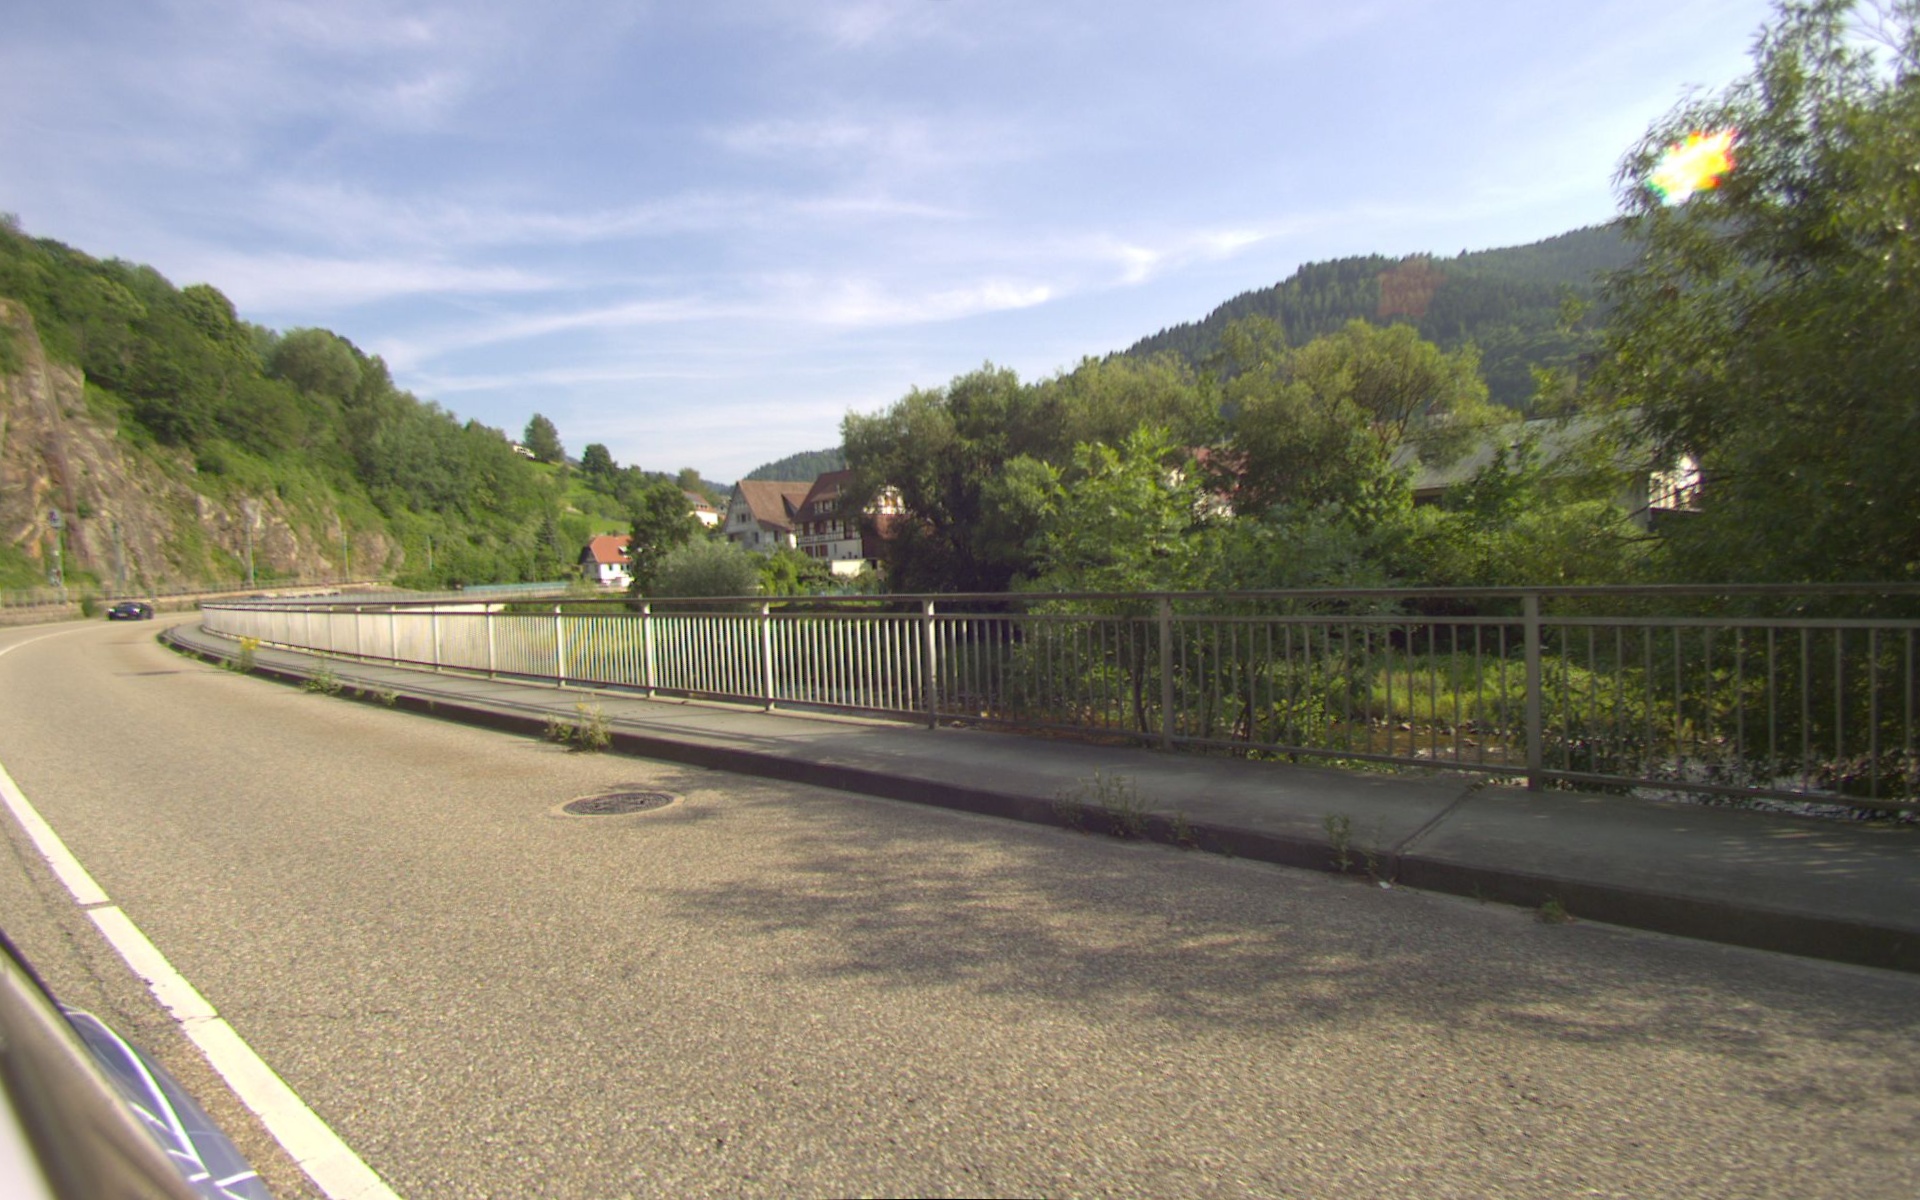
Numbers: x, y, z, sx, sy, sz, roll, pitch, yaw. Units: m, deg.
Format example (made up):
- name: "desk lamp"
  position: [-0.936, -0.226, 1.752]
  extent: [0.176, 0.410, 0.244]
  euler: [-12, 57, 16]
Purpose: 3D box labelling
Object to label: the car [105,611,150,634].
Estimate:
- name: "car"
  position: [-57.743, 1.591, 70.266]
  extent: [1.675, 1.533, 3.483]
  euler: [4, -3, -28]
